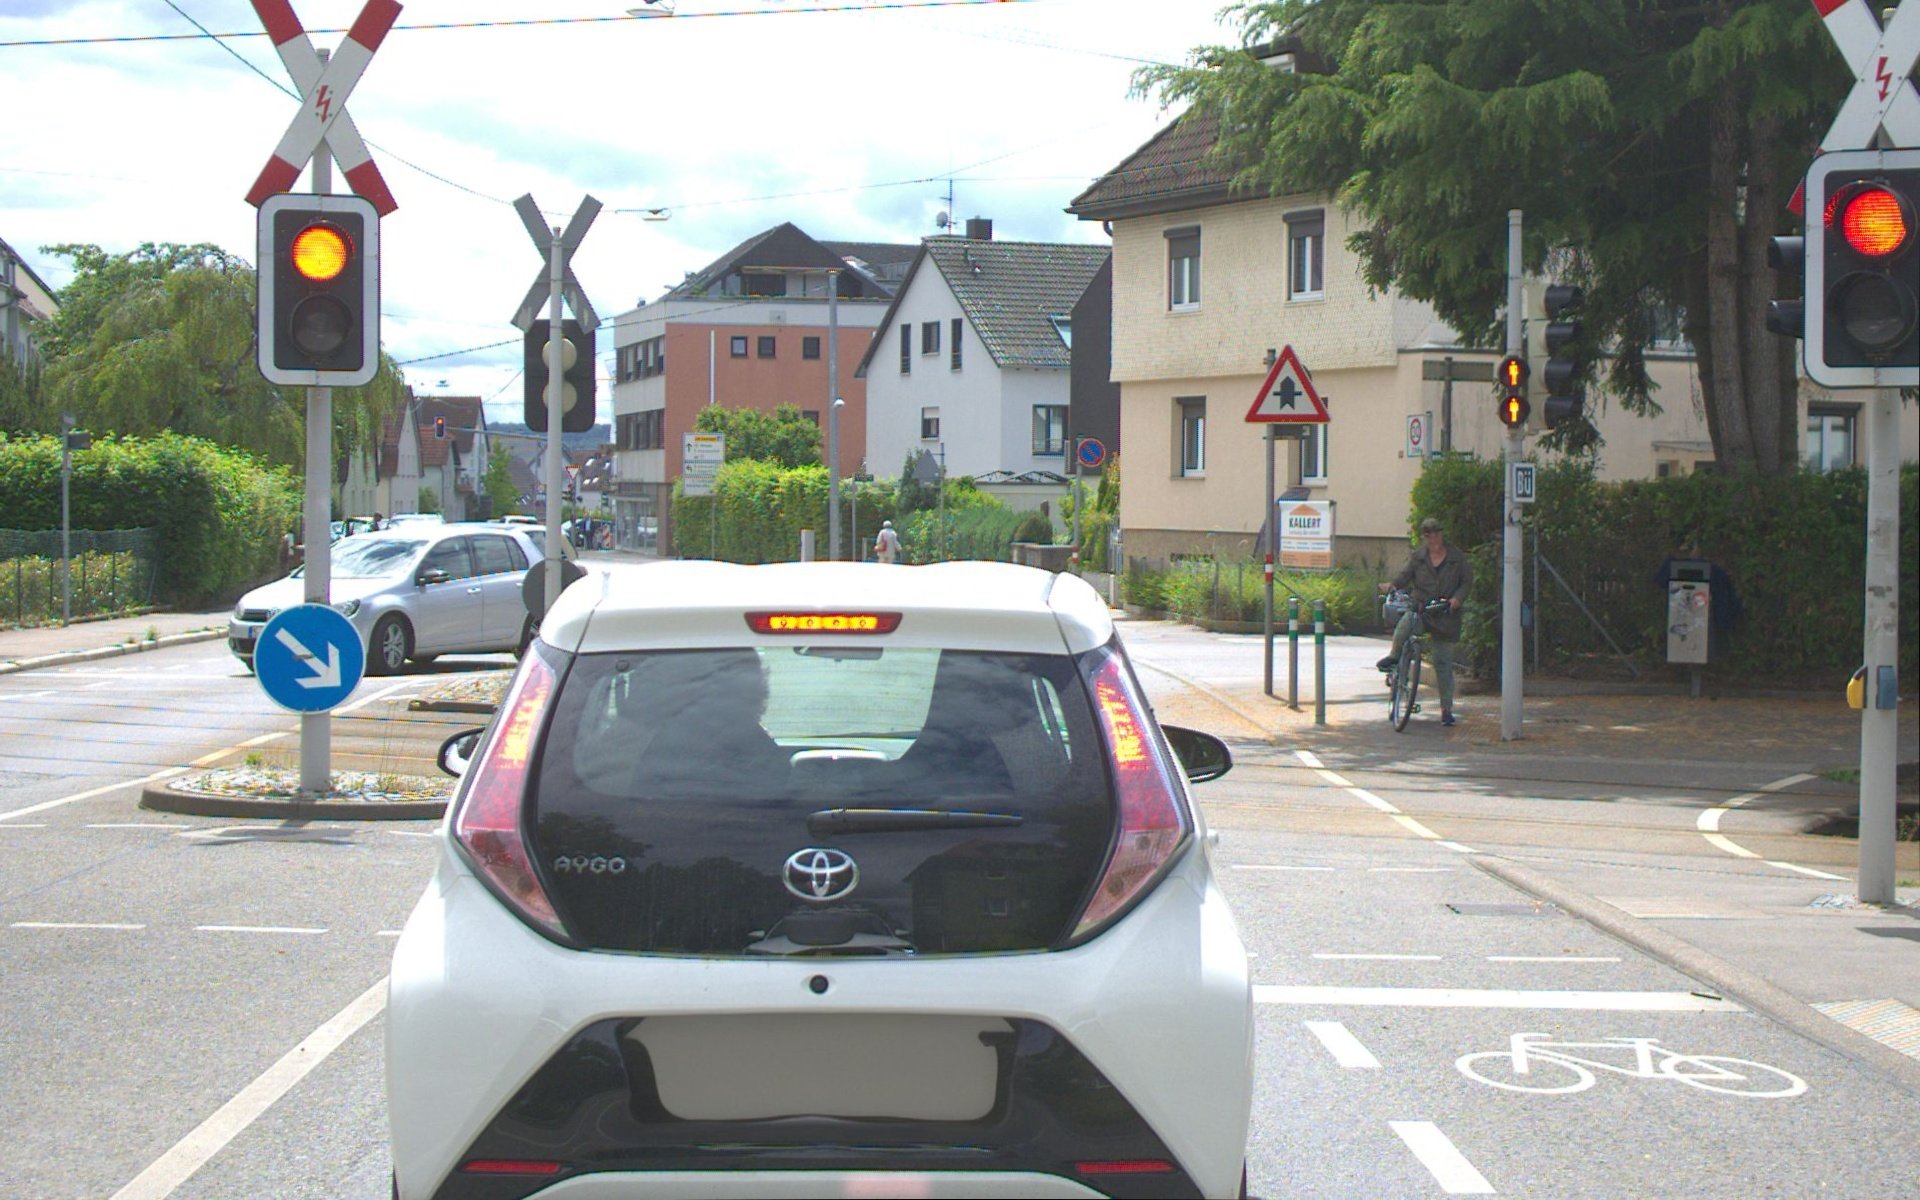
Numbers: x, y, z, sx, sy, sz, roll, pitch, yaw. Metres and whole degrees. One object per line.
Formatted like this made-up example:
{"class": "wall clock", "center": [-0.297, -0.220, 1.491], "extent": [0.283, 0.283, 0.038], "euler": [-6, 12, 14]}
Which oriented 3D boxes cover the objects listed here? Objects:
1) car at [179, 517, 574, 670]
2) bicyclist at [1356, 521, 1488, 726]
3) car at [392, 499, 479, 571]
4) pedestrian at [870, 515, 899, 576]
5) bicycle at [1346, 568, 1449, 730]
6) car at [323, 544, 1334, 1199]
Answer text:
{"class": "car", "center": [-5.970, -0.078, 35.616], "extent": [1.908, 1.436, 4.092], "euler": [2, 1, 28]}
{"class": "bicyclist", "center": [3.668, 0.177, 27.341], "extent": [0.840, 1.548, 0.756], "euler": [-2, 4, -6]}
{"class": "car", "center": [-13.224, -1.656, 86.848], "extent": [1.993, 1.713, 4.001], "euler": [2, 1, -7]}
{"class": "pedestrian", "center": [-1.980, -1.439, 90.208], "extent": [0.726, 1.571, 0.803], "euler": [2, 1, -1]}
{"class": "bicycle", "center": [3.487, 0.372, 27.464], "extent": [0.457, 1.168, 1.480], "euler": [-2, 4, -6]}
{"class": "car", "center": [-0.355, 0.624, 7.811], "extent": [1.721, 1.437, 3.709], "euler": [2, 1, -4]}
